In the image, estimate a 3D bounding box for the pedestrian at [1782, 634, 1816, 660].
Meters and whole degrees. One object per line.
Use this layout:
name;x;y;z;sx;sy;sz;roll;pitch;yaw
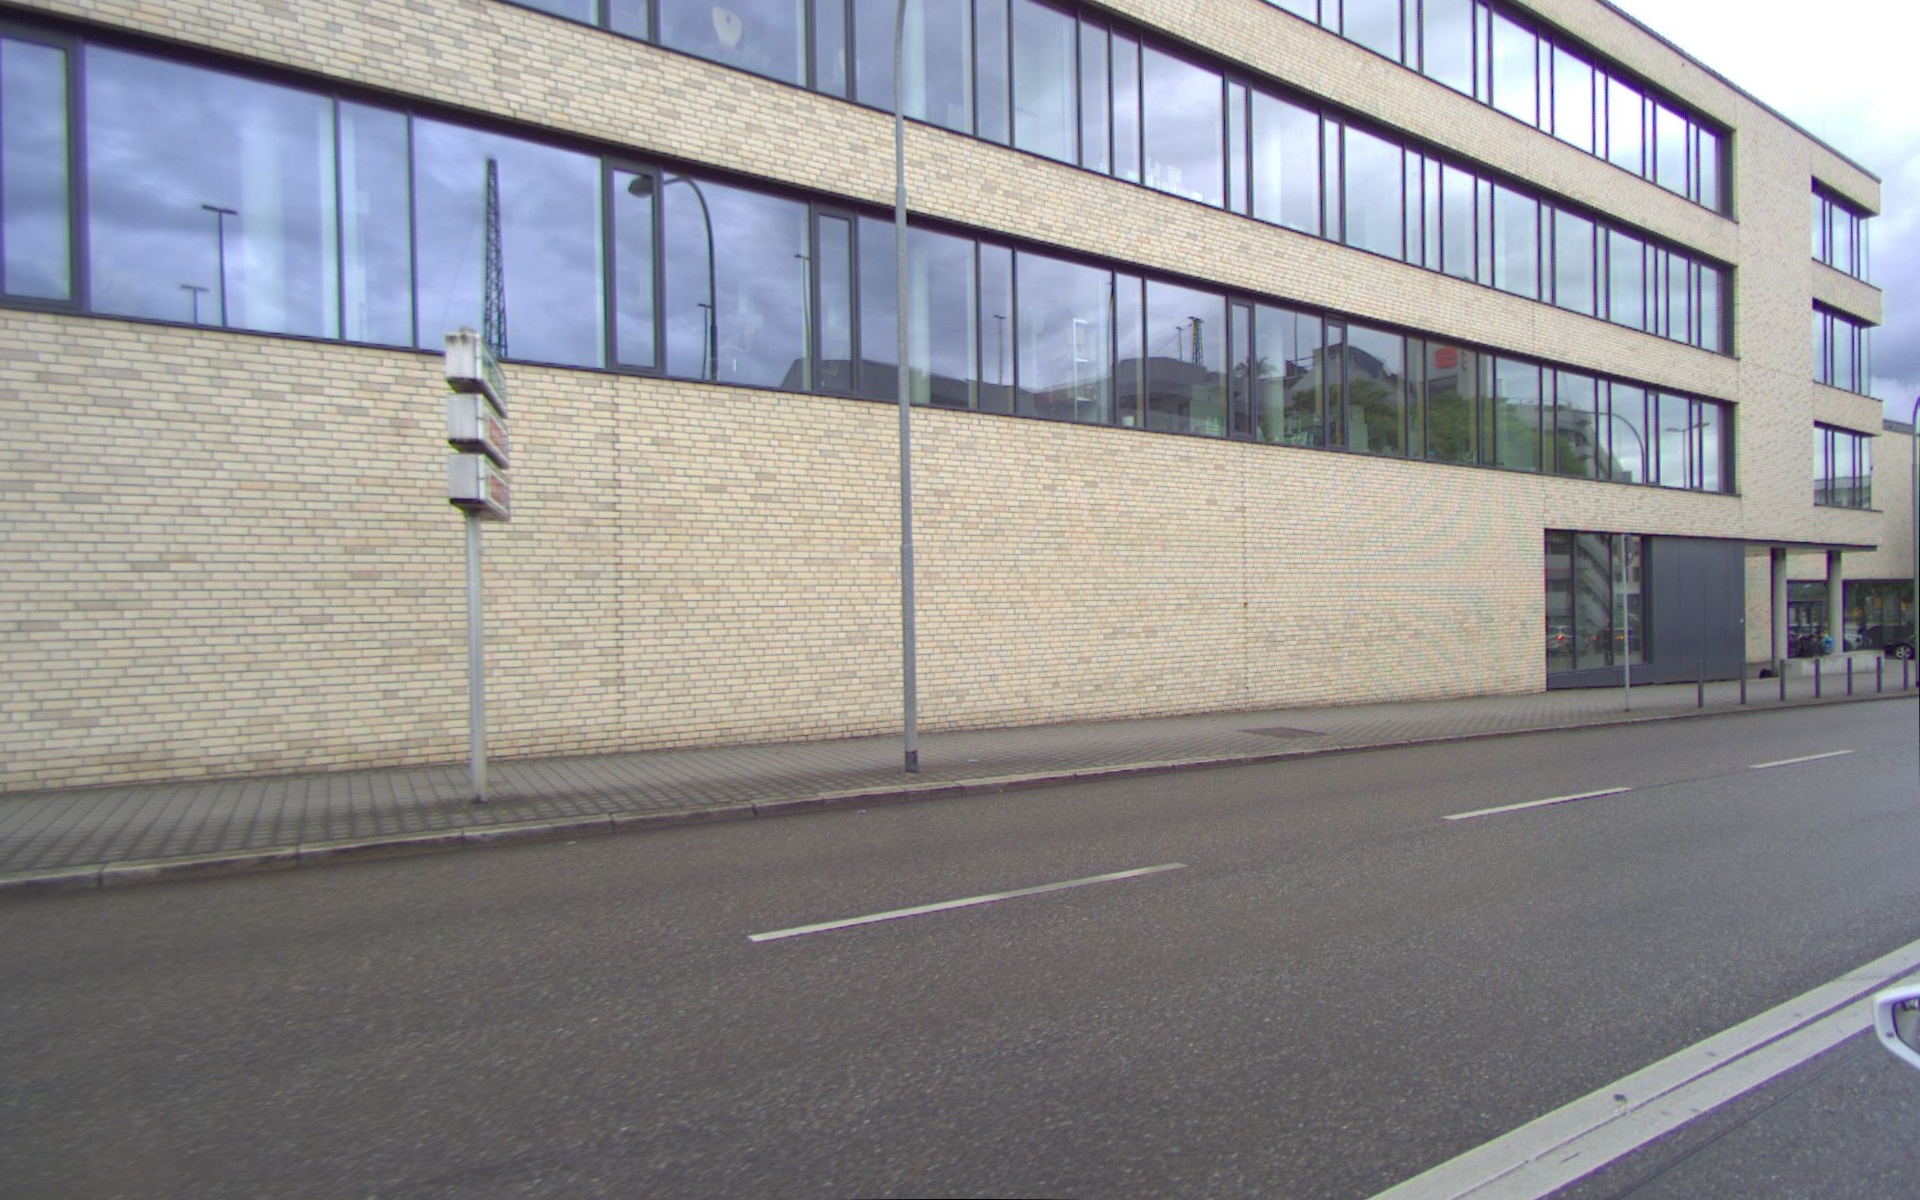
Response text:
pedestrian;26.923;1.499;32.241;0.751;0.796;0.595;2;0;-30

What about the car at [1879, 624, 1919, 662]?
car;42.572;1.881;43.039;1.981;1.608;4.437;1;-1;-36

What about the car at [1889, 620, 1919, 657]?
car;44.210;1.749;44.323;1.980;1.595;4.387;-1;1;-35

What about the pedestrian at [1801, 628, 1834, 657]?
pedestrian;27.903;1.368;32.686;0.518;0.897;0.677;2;1;-30

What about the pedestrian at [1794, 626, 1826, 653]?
pedestrian;27.726;1.287;32.761;0.719;0.856;0.583;2;-1;-30
